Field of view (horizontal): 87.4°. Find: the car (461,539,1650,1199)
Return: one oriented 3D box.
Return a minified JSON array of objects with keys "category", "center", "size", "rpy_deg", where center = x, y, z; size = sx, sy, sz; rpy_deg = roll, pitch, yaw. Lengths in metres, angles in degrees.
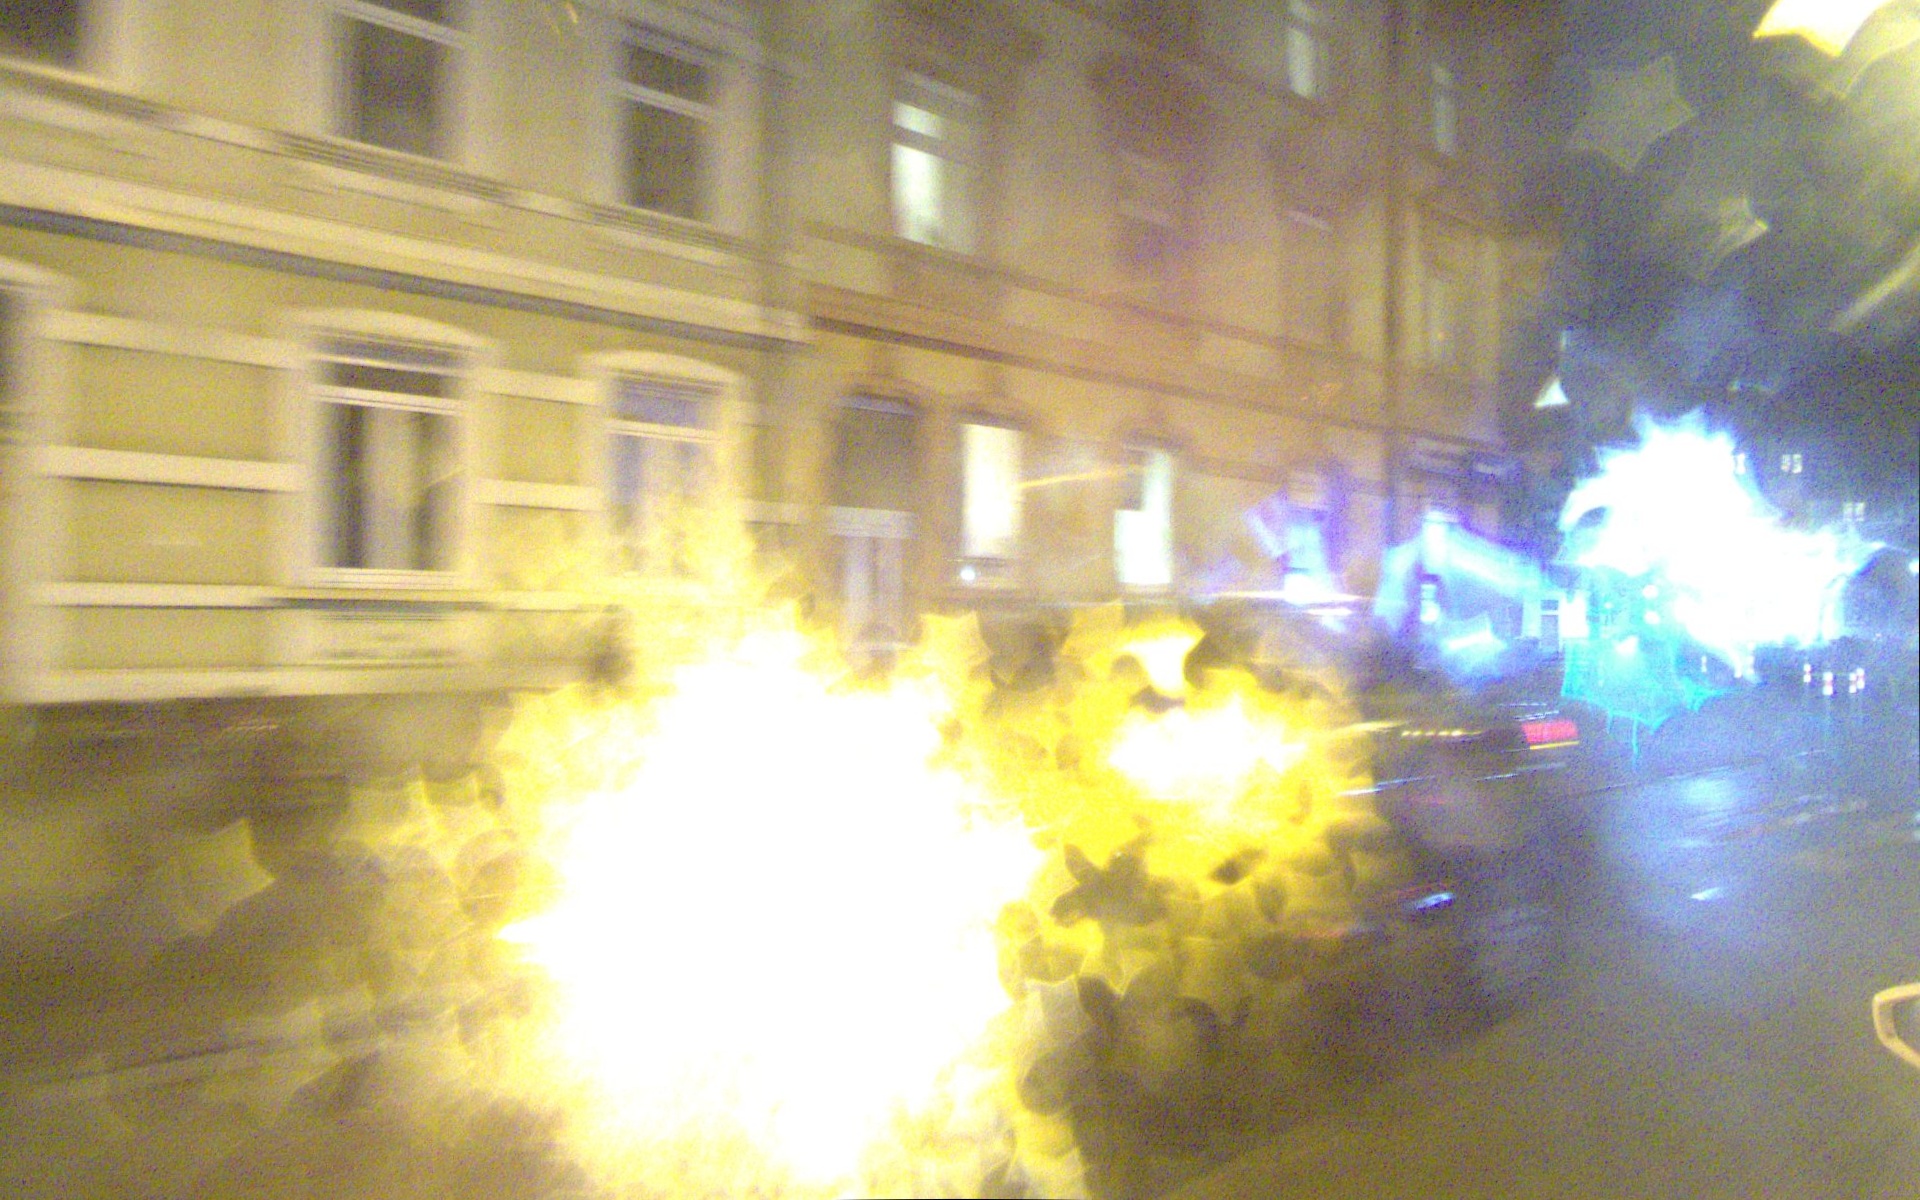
[{"category":"car","center":[0.736,0.792,3.909],"size":[4.533,1.639,1.906],"rpy_deg":[1,-3,-38]}]

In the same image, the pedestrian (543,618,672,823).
[{"category":"pedestrian","center":[-2.915,0.952,8.325],"size":[0.649,1.573,0.758],"rpy_deg":[3,1,43]}]

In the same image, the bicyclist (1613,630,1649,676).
[{"category":"bicyclist","center":[21.017,1.652,31.457],"size":[0.879,1.398,0.503],"rpy_deg":[2,1,34]}]

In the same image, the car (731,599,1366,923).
[{"category":"car","center":[0.806,0.922,7.435],"size":[4.545,1.739,1.822],"rpy_deg":[1,-1,-33]}]

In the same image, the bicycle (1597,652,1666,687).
[{"category":"bicycle","center":[21.007,2.168,31.454],"size":[1.754,0.944,0.498],"rpy_deg":[2,1,34]}]

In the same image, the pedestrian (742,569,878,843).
[{"category":"pedestrian","center":[-1.169,0.781,7.867],"size":[0.647,2.000,0.767],"rpy_deg":[2,1,36]}]
